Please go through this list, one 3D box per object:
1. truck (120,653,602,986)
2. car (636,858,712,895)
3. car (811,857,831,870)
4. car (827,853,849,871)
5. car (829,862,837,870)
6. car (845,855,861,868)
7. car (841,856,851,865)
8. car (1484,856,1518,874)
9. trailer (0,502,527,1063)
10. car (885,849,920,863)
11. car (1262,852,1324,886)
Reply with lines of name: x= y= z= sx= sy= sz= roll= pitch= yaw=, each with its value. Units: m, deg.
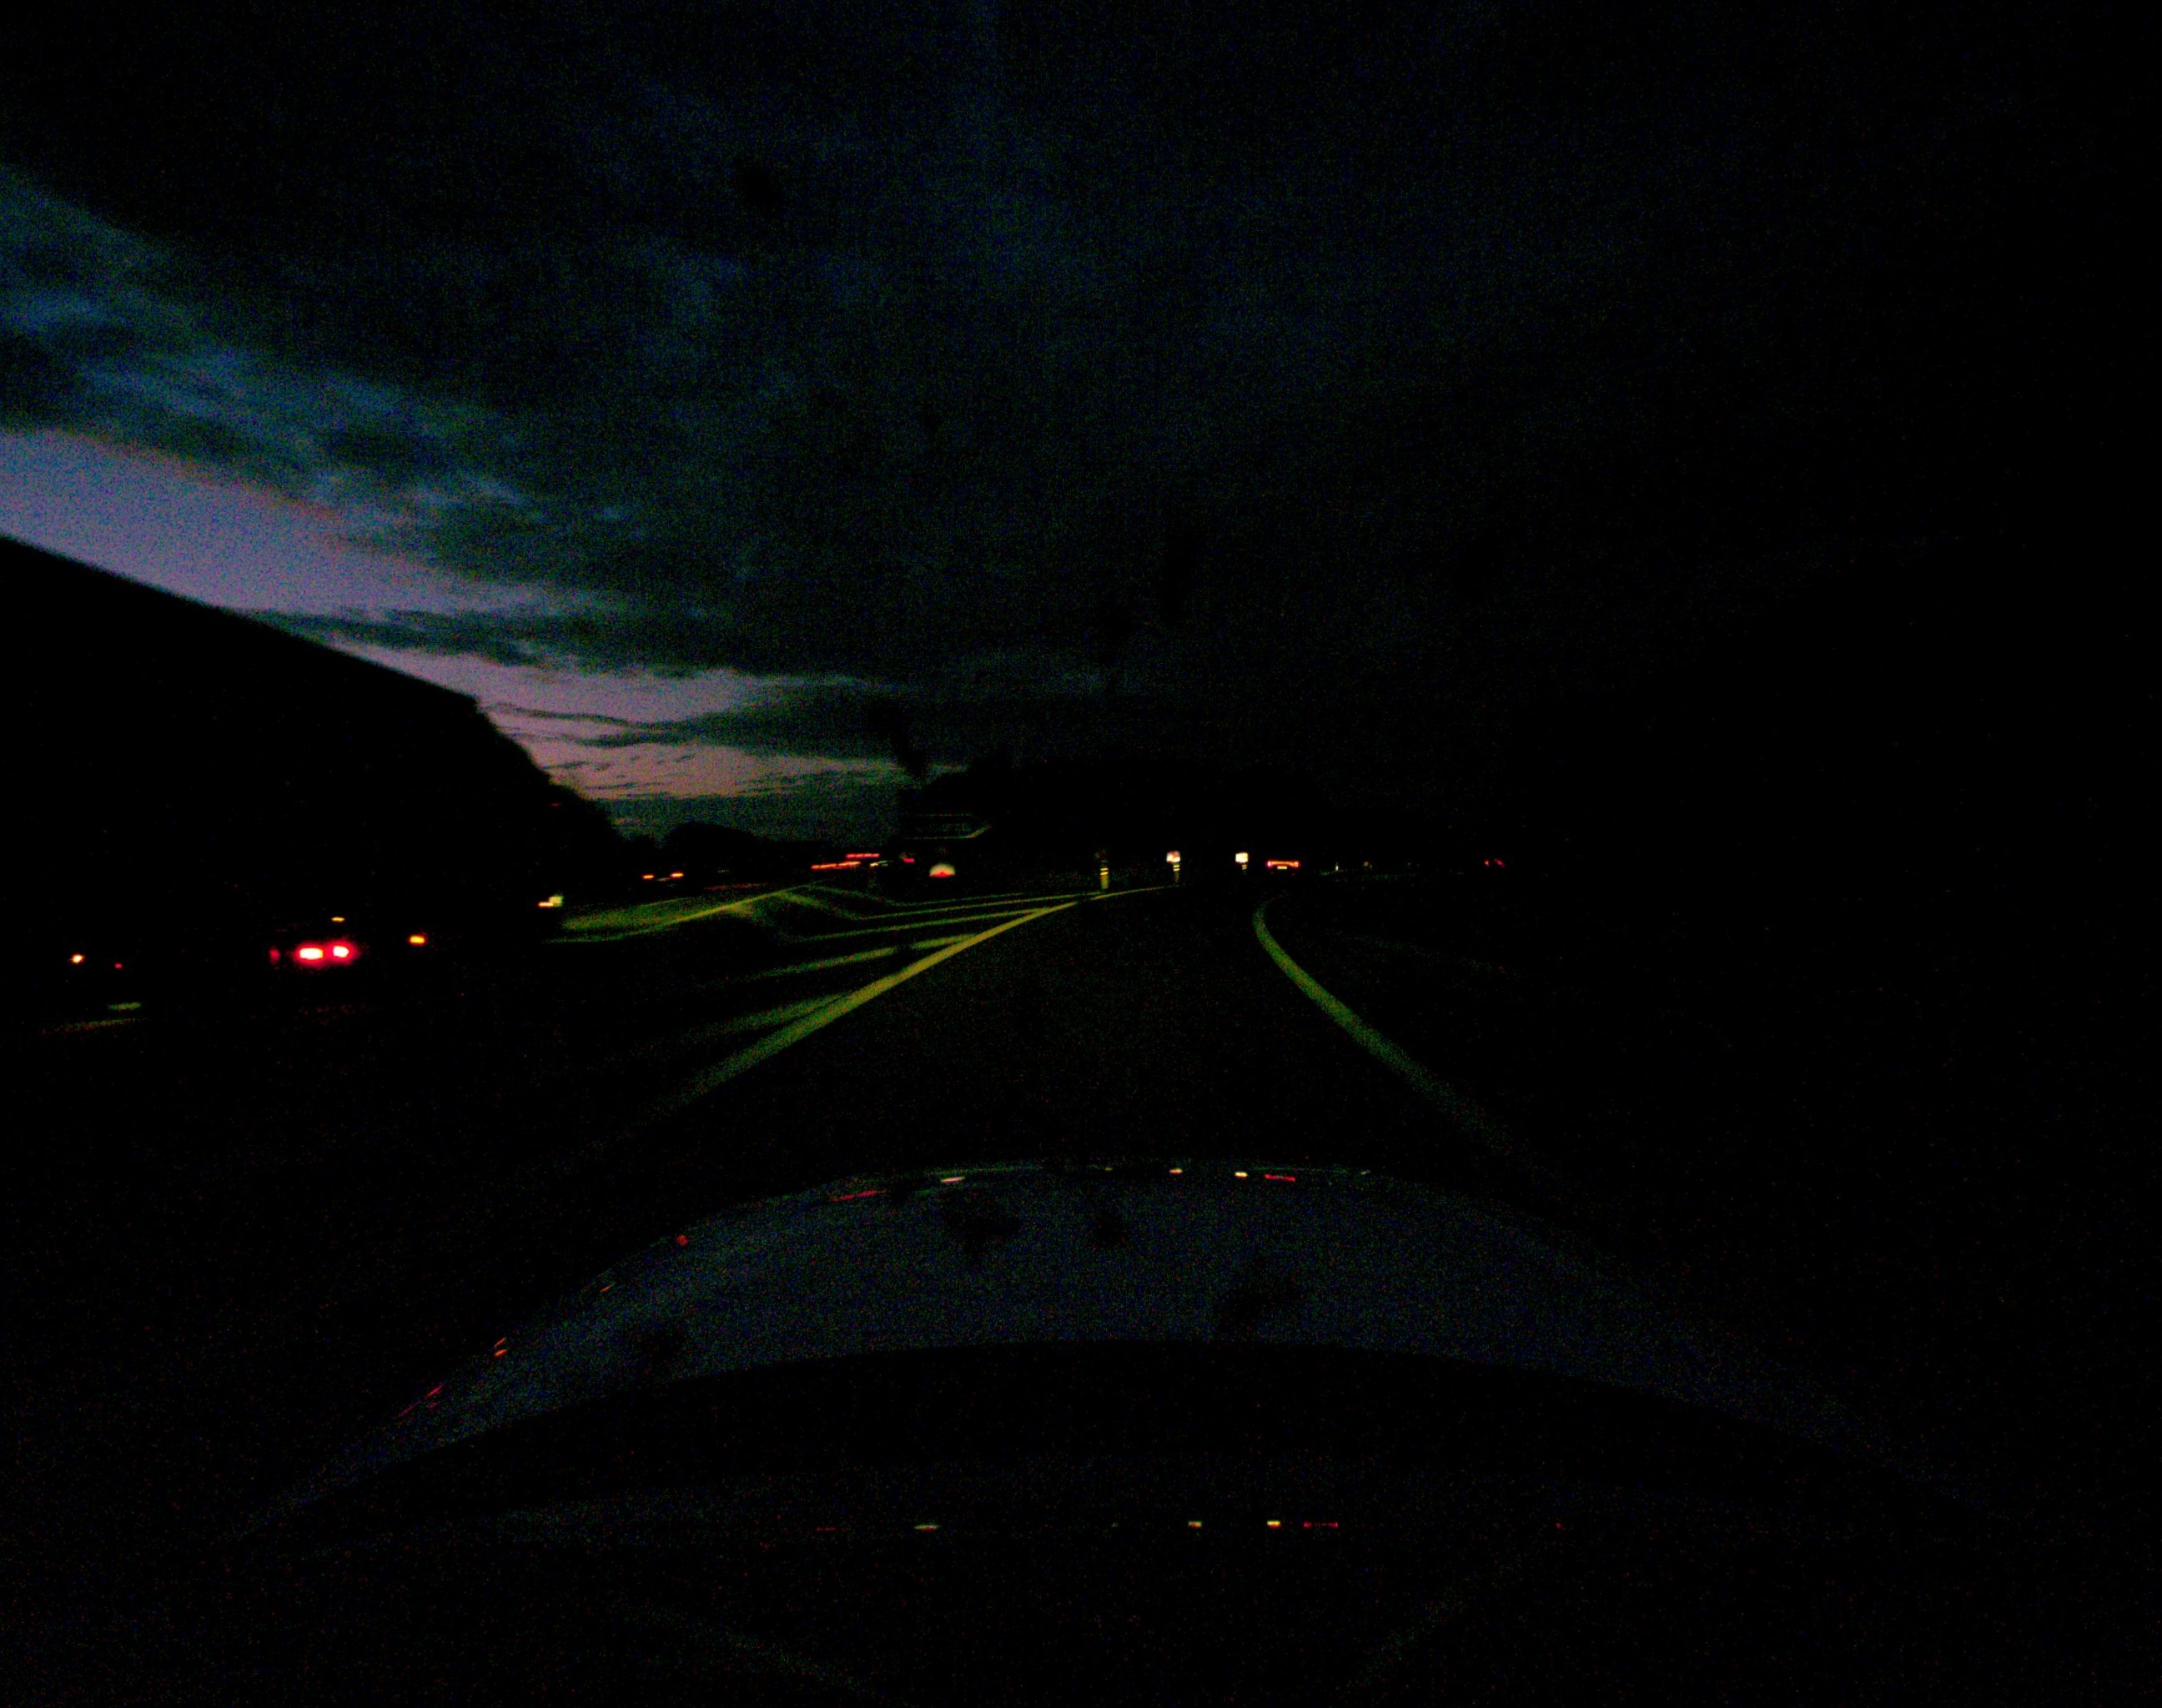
truck: x=-10.364 y=-0.491 z=12.832 sx=2.781 sy=3.901 sz=6.130 roll=-3 pitch=1 yaw=-12
car: x=-19.648 y=1.040 z=39.536 sx=1.994 sy=1.498 sz=4.533 roll=-3 pitch=1 yaw=-10
car: x=-38.912 y=1.414 z=121.967 sx=1.991 sy=1.642 sz=4.545 roll=-3 pitch=1 yaw=-6
car: x=-29.765 y=0.934 z=99.854 sx=1.993 sy=2.013 sz=3.987 roll=-2 pitch=1 yaw=-10
car: x=-71.658 y=3.370 z=235.359 sx=2.108 sy=2.013 sz=3.980 roll=-4 pitch=1 yaw=-15
car: x=-38.580 y=1.320 z=137.704 sx=1.993 sy=2.013 sz=3.988 roll=-3 pitch=1 yaw=-9
car: x=-58.445 y=1.670 z=202.296 sx=2.078 sy=2.013 sz=3.974 roll=-3 pitch=1 yaw=-19
car: x=41.108 y=1.055 z=79.704 sx=1.975 sy=1.598 sz=4.024 roll=0 pitch=0 yaw=43
trailer: x=-8.890 y=-0.455 z=5.502 sx=2.776 sy=3.915 sz=14.761 roll=-3 pitch=1 yaw=-11
car: x=-25.485 y=0.276 z=116.145 sx=5.080 sy=2.013 sz=2.283 roll=0 pitch=0 yaw=43
car: x=11.382 y=0.749 z=43.507 sx=1.974 sy=1.659 sz=4.342 roll=0 pitch=0 yaw=32
